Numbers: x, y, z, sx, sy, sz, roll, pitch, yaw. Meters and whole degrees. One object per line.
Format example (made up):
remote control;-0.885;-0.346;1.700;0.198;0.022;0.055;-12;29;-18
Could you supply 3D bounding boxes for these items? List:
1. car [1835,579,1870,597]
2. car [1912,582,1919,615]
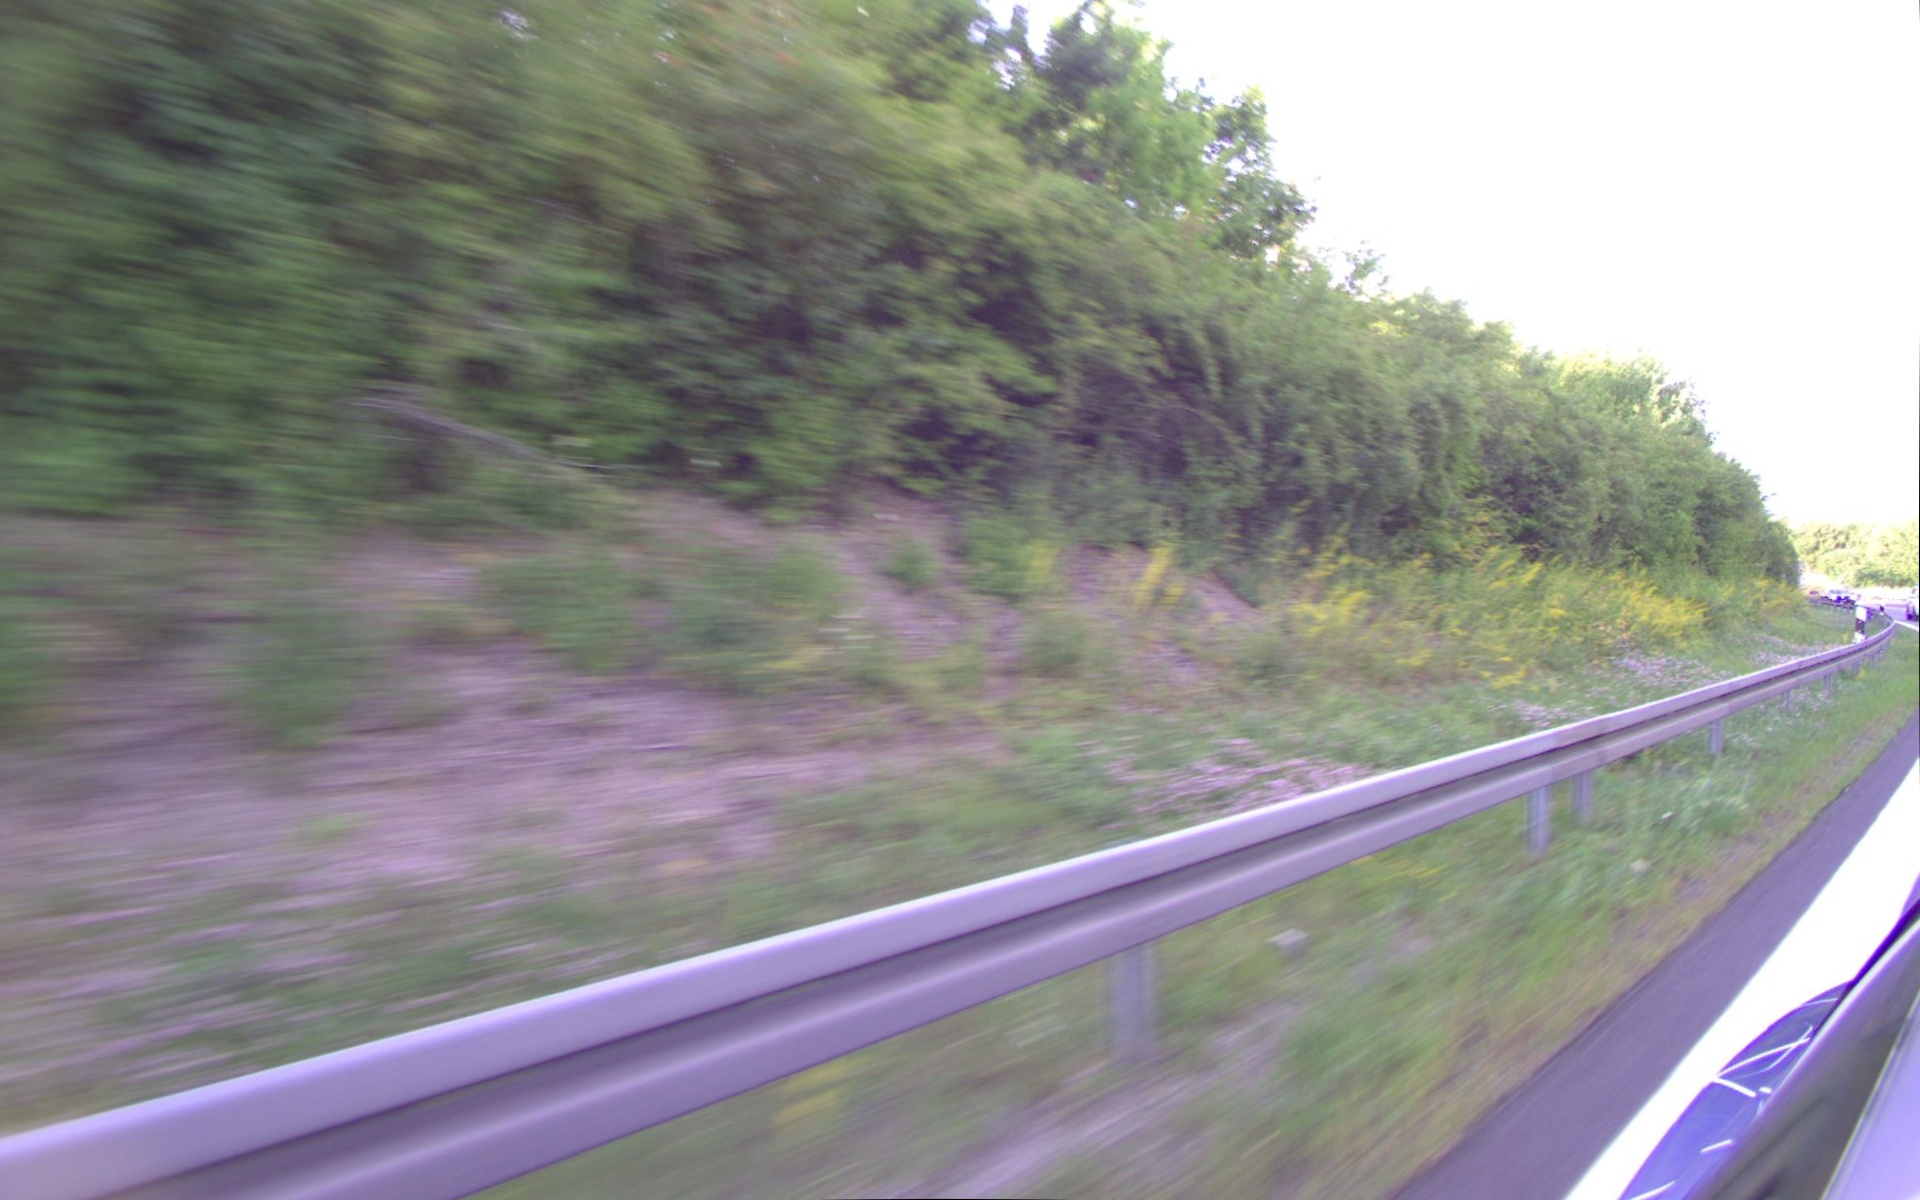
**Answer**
car;75.478;-1.040;85.606;1.608;1.478;3.622;0;2;31
car;50.913;-0.109;52.348;1.894;1.686;3.948;-2;-1;36
